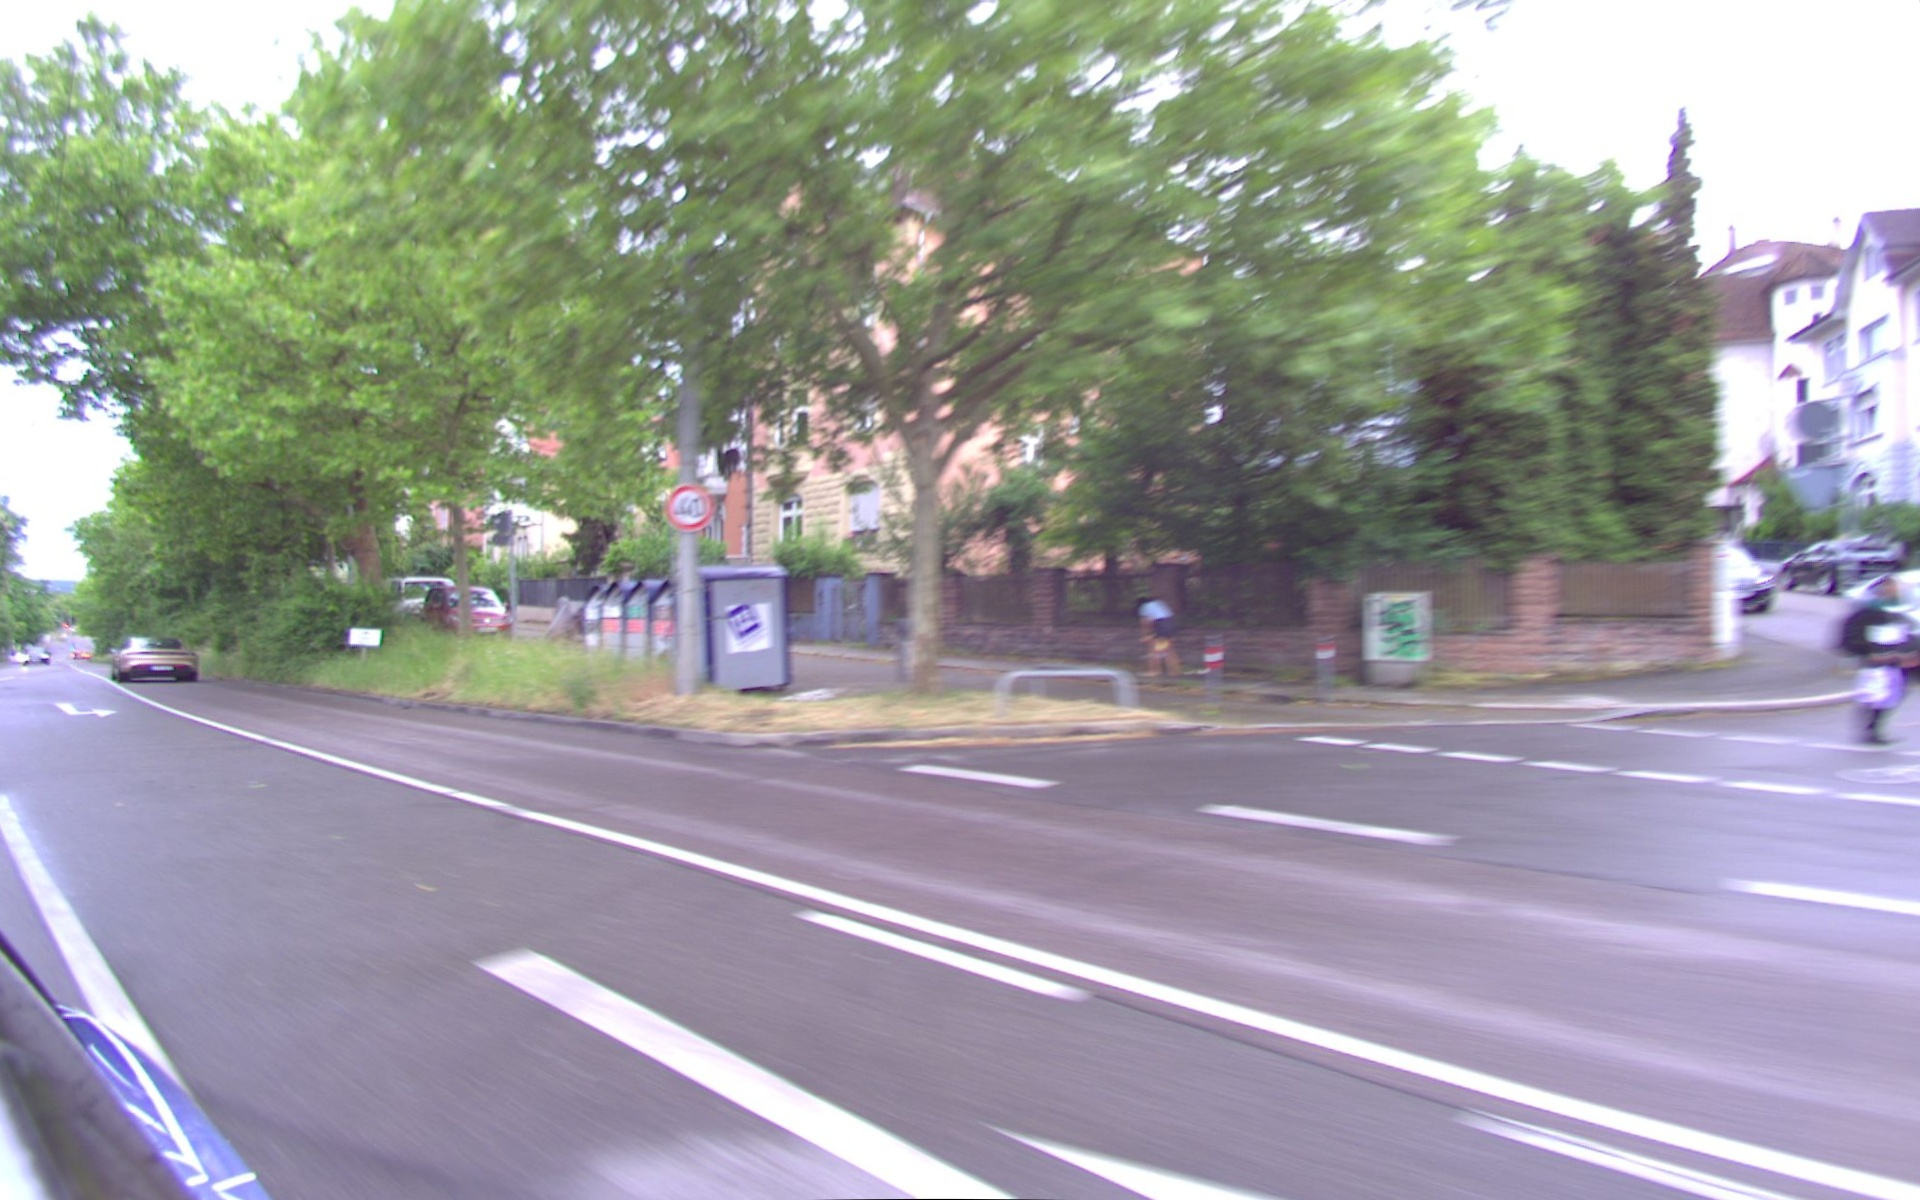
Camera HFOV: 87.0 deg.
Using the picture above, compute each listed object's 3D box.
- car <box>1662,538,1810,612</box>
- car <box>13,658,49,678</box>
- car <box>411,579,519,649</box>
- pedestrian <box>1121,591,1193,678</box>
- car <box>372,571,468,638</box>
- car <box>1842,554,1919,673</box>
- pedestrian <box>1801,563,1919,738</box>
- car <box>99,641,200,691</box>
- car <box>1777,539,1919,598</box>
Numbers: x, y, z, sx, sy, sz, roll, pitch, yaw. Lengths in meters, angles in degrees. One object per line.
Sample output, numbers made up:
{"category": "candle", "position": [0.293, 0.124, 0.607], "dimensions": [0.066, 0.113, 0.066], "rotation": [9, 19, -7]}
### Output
{"category": "car", "position": [18.734, -0.664, 24.656], "dimensions": [1.876, 1.395, 4.234], "rotation": [-3, 4, 24]}
{"category": "car", "position": [-74.587, 5.418, 81.264], "dimensions": [1.971, 1.453, 4.002], "rotation": [-1, -2, -45]}
{"category": "car", "position": [-14.563, 0.463, 29.622], "dimensions": [1.807, 1.857, 4.635], "rotation": [-1, -2, -39]}
{"category": "pedestrian", "position": [3.230, 0.567, 16.573], "dimensions": [0.781, 1.365, 0.792], "rotation": [-1, -2, -40]}
{"category": "car", "position": [-18.217, 0.190, 34.048], "dimensions": [1.968, 2.029, 4.635], "rotation": [-1, -2, -39]}
{"category": "car", "position": [14.188, 0.122, 14.203], "dimensions": [1.879, 1.395, 4.225], "rotation": [-2, 3, 30]}
{"category": "pedestrian", "position": [9.137, 0.479, 9.954], "dimensions": [0.987, 1.642, 0.884], "rotation": [-3, -1, 18]}
{"category": "car", "position": [-25.783, 2.062, 32.131], "dimensions": [2.047, 1.363, 4.716], "rotation": [-1, -2, -44]}
{"category": "car", "position": [26.248, -0.980, 30.045], "dimensions": [1.874, 1.395, 4.238], "rotation": [-3, 4, 22]}
